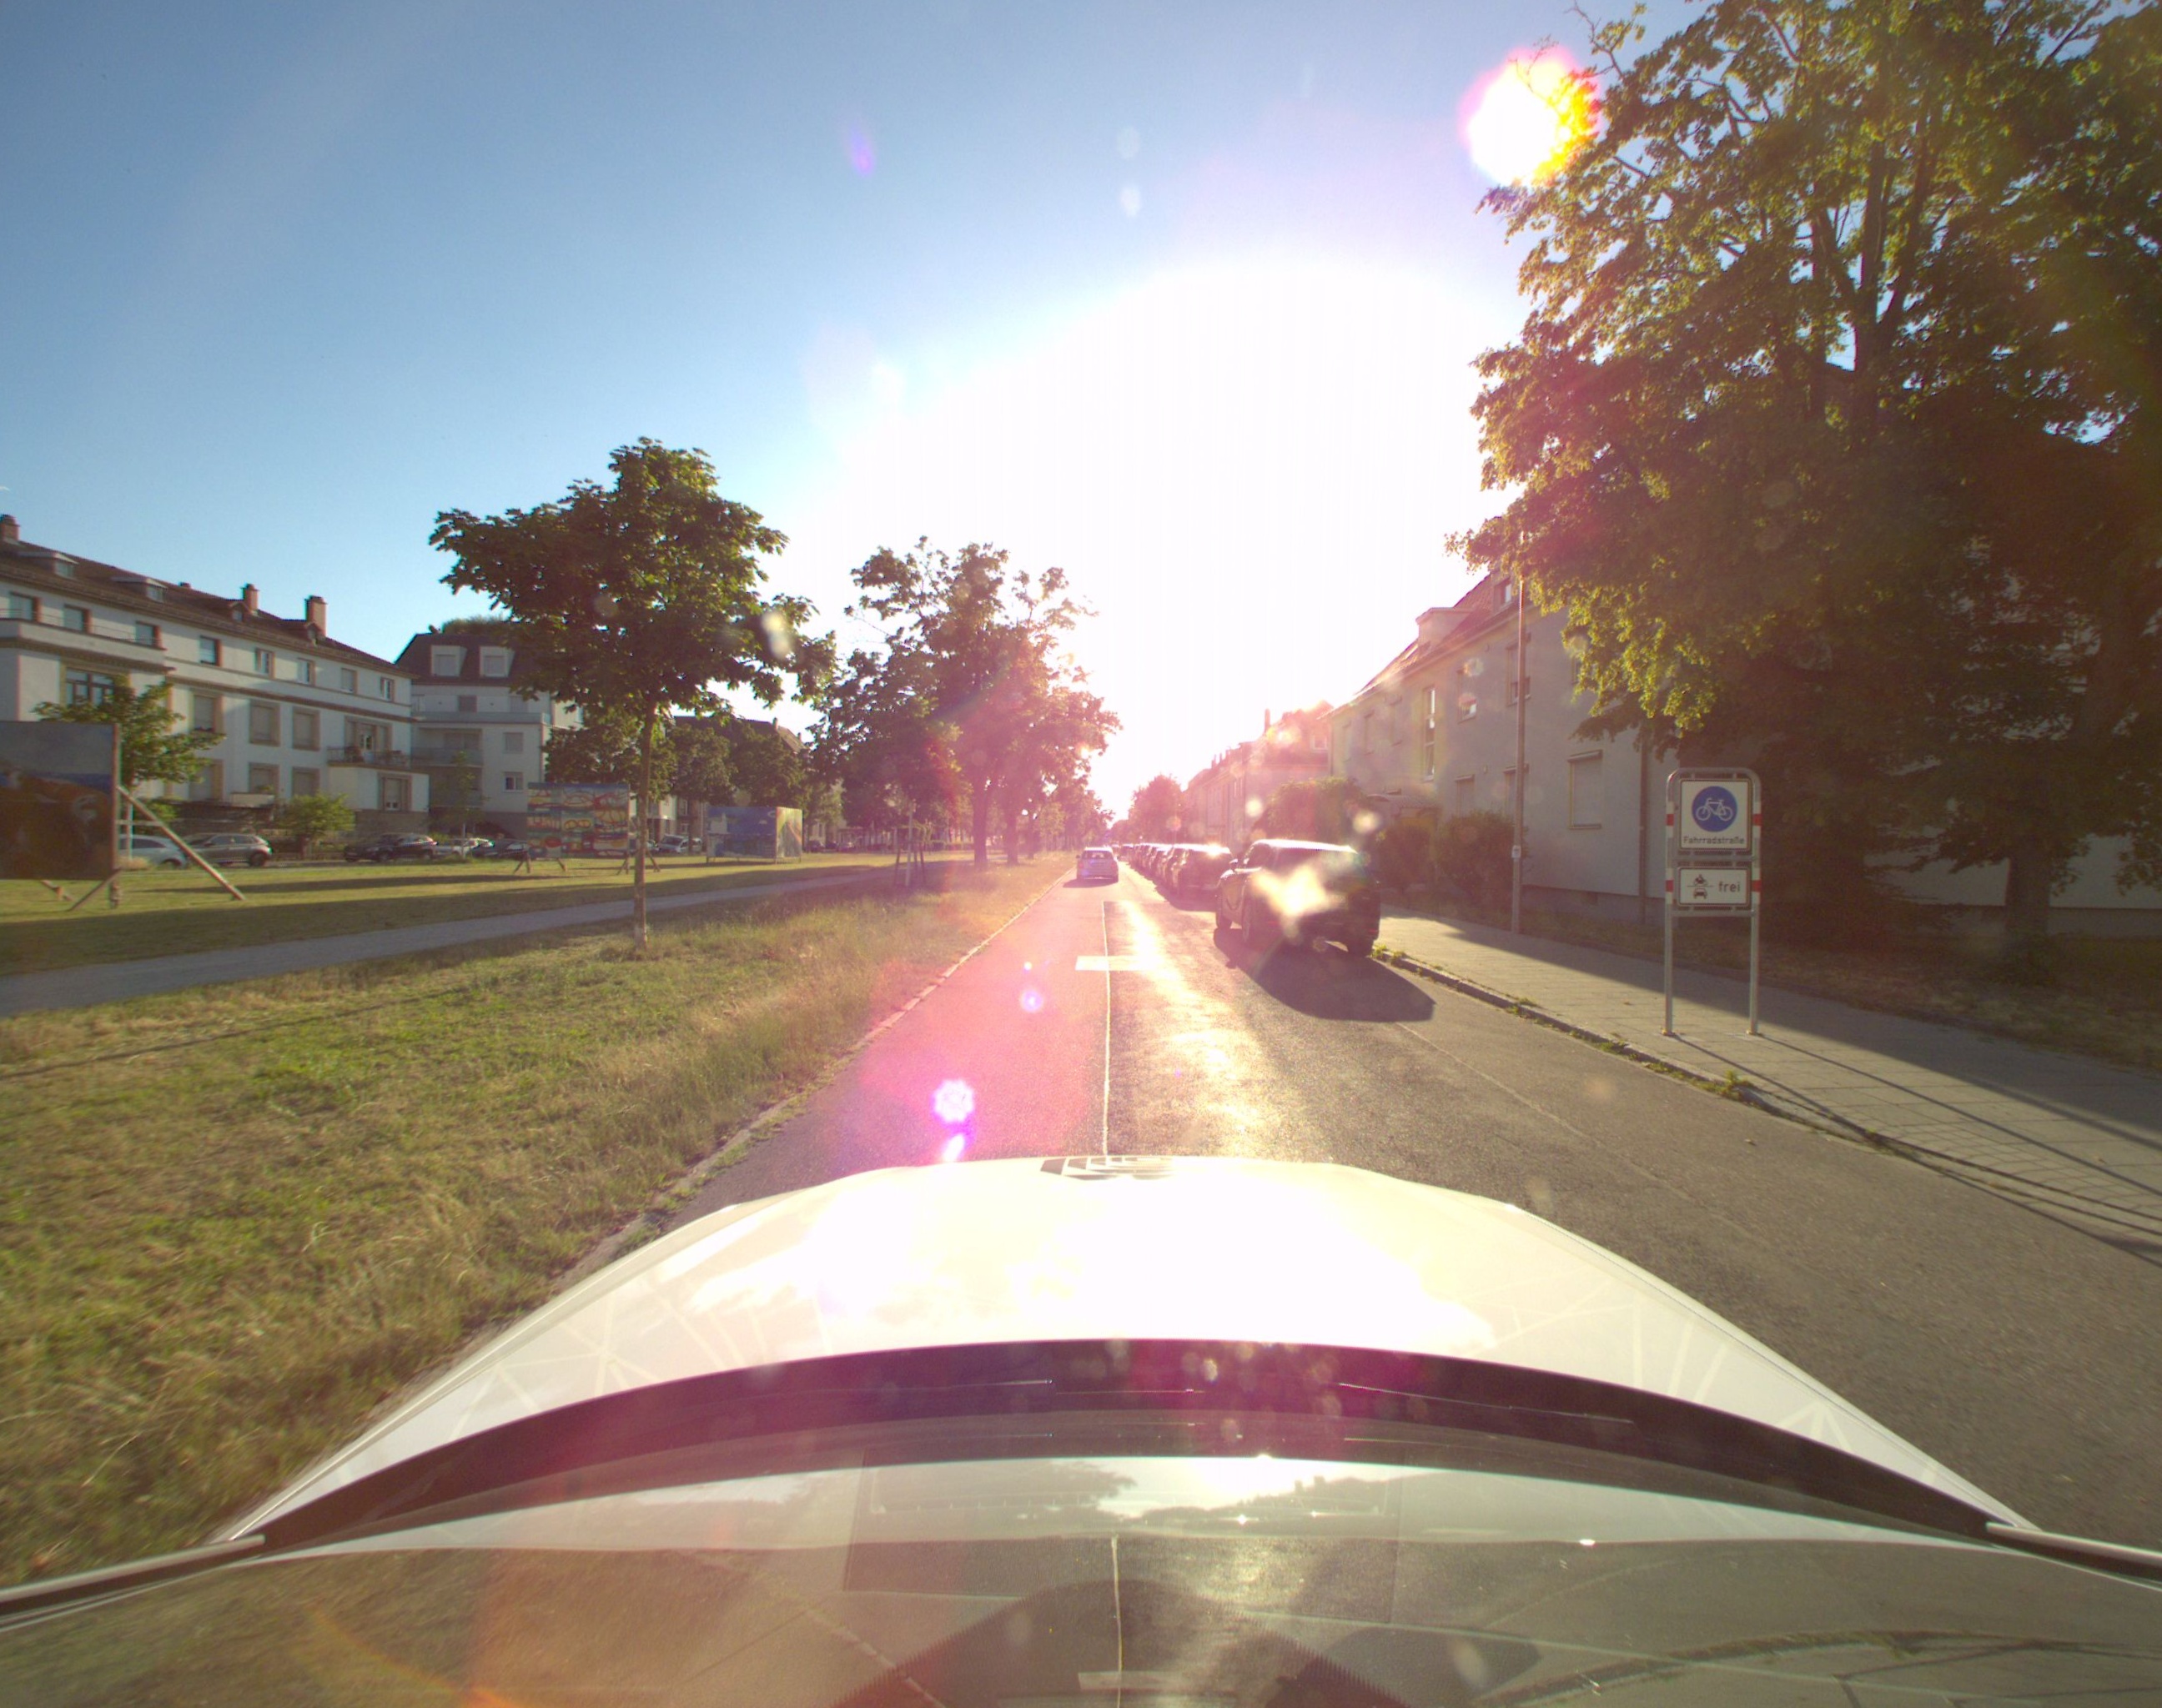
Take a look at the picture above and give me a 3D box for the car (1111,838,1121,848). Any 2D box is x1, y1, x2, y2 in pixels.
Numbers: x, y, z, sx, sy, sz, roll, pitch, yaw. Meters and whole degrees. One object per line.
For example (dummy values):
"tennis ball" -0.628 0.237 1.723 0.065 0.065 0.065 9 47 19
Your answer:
"car" 7.244 -2.303 170.228 1.981 2.023 4.002 1 1 2

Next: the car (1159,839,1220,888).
"car" 4.074 0.294 31.355 1.847 1.657 4.823 2 1 2

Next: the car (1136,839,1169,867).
"car" 4.580 -0.071 52.478 1.759 1.634 4.766 2 0 1

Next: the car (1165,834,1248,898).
"car" 3.826 0.284 25.582 1.926 1.720 4.623 3 1 1

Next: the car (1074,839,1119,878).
"car" 0.698 0.145 34.912 1.816 1.566 4.003 -1 1 2

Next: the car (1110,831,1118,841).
"car" 7.610 -4.202 188.269 1.854 2.193 5.073 1 1 2

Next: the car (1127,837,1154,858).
"car" 4.941 -0.599 68.109 1.712 1.638 4.561 2 1 -2

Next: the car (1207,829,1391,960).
"car" 3.434 0.541 13.884 1.826 1.731 5.033 3 1 1

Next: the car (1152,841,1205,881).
"car" 4.311 0.291 36.549 1.723 1.548 4.207 5 0 0

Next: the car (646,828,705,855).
"car" -32.059 -0.948 64.558 2.013 2.001 5.368 -3 0 -2

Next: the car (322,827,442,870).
"car" -38.613 -0.296 45.177 2.229 2.130 4.857 -3 0 3

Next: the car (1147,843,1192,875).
"car" 4.429 0.202 41.497 1.985 1.462 4.565 2 1 3

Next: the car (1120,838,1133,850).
"car" 6.257 -1.392 111.875 1.715 1.597 4.002 0 0 2

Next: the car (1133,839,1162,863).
"car" 4.683 -0.216 57.916 1.771 1.643 4.758 0 1 1

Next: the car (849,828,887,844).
"car" -37.630 -3.208 144.041 6.332 2.720 1.984 0 1 -29

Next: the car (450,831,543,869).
"car" -32.608 -0.226 45.575 1.882 1.916 4.329 -3 0 2

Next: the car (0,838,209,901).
"car" -33.173 0.477 27.706 1.826 1.899 4.646 -3 0 3

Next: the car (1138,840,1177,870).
"car" 4.352 0.030 46.670 1.720 1.561 4.415 1 1 -1

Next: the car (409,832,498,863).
"car" -38.381 -0.410 49.961 1.814 1.744 4.463 -3 0 3

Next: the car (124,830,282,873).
"car" -38.603 -0.121 36.007 1.775 1.702 4.669 -3 0 2

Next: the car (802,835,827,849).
"car" -36.072 -1.598 110.191 1.636 1.707 4.297 -3 0 3
